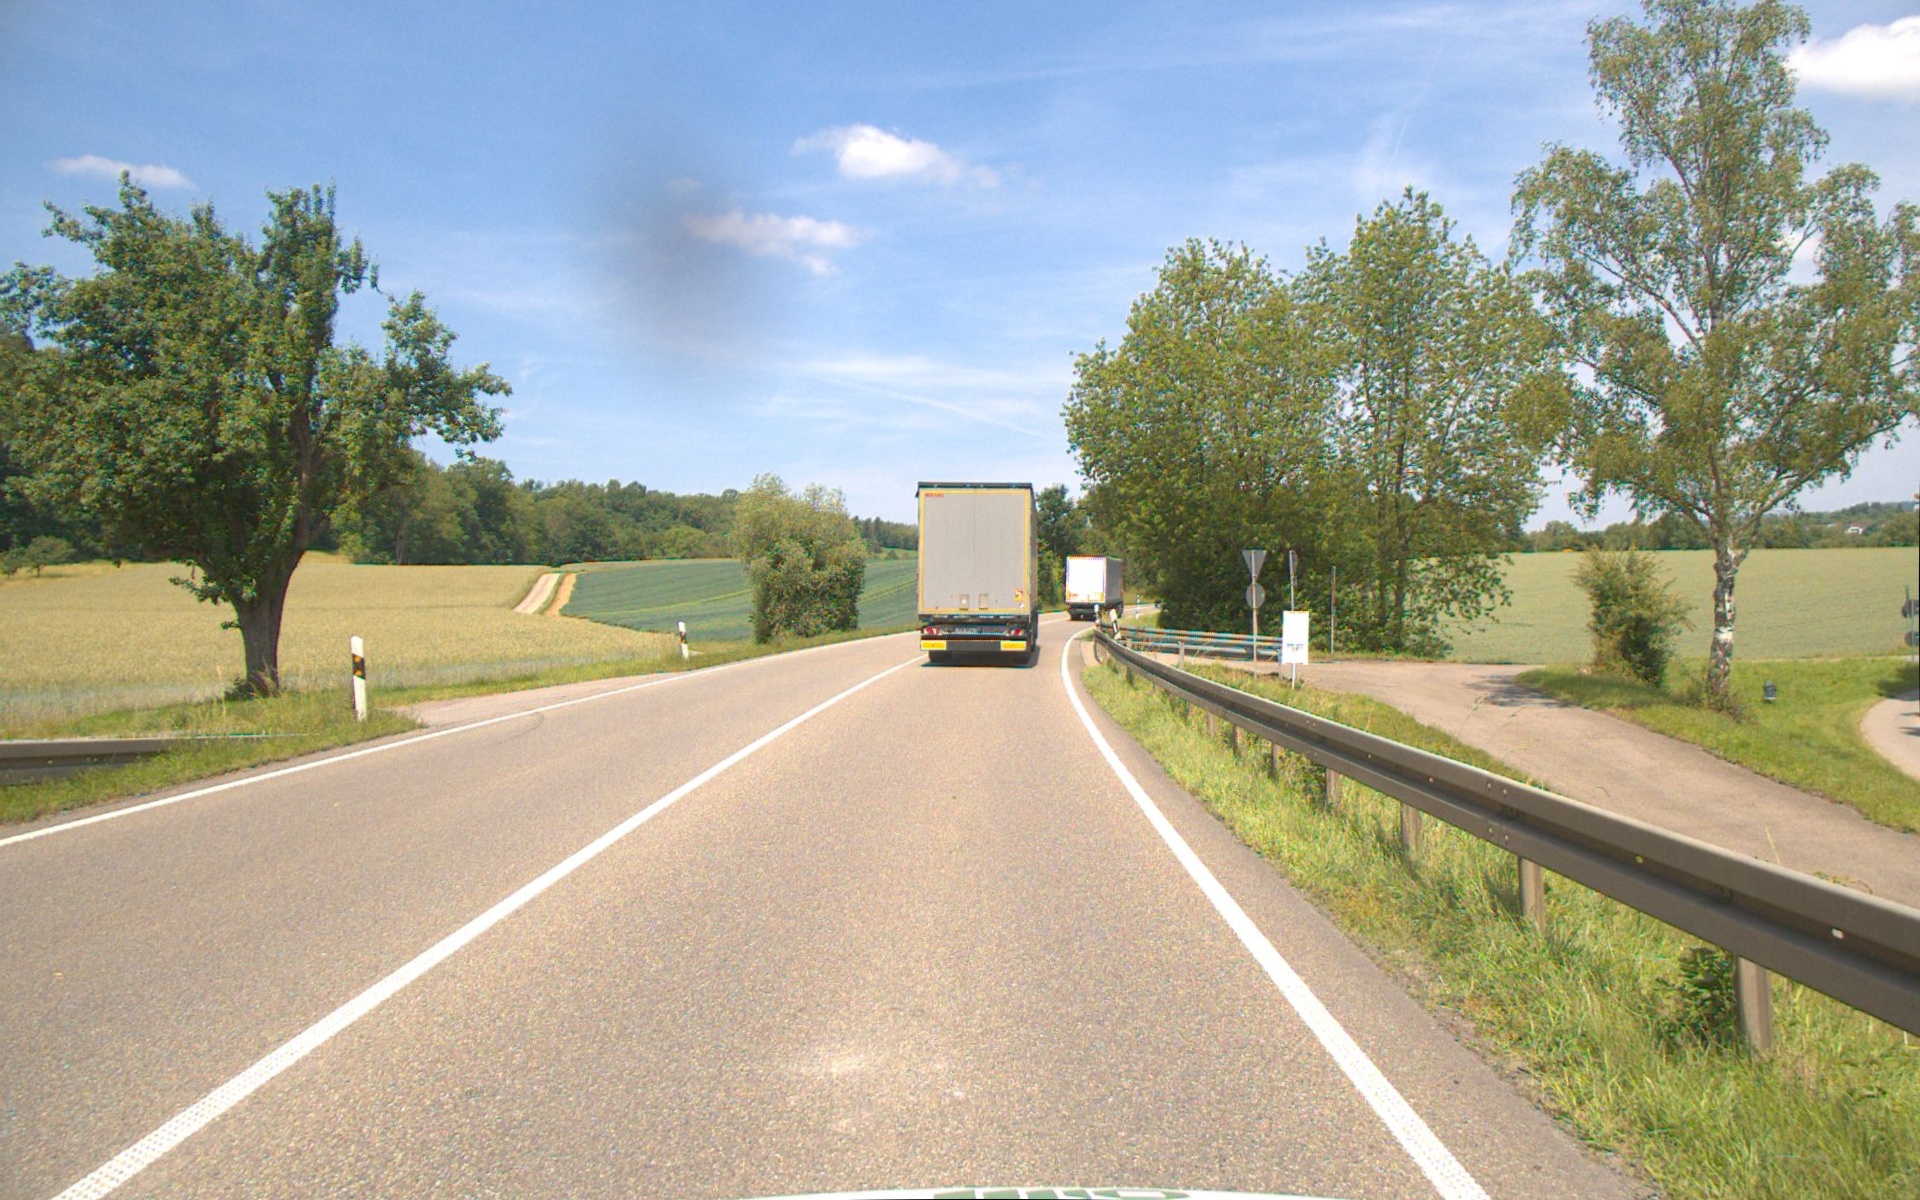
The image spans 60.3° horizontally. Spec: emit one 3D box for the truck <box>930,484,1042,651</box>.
[{"bbox_3d":[0.830,-0.899,48.672,3.053,4.573,6.813,0,0,2],"label":"truck"}]

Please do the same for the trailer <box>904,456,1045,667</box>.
[{"bbox_3d":[0.580,-0.866,42.881,3.053,4.578,13.890,0,0,2],"label":"trailer"}]

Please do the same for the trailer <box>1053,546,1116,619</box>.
[{"bbox_3d":[8.402,-0.996,109.714,3.293,4.393,13.874,0,-1,8],"label":"trailer"}]
